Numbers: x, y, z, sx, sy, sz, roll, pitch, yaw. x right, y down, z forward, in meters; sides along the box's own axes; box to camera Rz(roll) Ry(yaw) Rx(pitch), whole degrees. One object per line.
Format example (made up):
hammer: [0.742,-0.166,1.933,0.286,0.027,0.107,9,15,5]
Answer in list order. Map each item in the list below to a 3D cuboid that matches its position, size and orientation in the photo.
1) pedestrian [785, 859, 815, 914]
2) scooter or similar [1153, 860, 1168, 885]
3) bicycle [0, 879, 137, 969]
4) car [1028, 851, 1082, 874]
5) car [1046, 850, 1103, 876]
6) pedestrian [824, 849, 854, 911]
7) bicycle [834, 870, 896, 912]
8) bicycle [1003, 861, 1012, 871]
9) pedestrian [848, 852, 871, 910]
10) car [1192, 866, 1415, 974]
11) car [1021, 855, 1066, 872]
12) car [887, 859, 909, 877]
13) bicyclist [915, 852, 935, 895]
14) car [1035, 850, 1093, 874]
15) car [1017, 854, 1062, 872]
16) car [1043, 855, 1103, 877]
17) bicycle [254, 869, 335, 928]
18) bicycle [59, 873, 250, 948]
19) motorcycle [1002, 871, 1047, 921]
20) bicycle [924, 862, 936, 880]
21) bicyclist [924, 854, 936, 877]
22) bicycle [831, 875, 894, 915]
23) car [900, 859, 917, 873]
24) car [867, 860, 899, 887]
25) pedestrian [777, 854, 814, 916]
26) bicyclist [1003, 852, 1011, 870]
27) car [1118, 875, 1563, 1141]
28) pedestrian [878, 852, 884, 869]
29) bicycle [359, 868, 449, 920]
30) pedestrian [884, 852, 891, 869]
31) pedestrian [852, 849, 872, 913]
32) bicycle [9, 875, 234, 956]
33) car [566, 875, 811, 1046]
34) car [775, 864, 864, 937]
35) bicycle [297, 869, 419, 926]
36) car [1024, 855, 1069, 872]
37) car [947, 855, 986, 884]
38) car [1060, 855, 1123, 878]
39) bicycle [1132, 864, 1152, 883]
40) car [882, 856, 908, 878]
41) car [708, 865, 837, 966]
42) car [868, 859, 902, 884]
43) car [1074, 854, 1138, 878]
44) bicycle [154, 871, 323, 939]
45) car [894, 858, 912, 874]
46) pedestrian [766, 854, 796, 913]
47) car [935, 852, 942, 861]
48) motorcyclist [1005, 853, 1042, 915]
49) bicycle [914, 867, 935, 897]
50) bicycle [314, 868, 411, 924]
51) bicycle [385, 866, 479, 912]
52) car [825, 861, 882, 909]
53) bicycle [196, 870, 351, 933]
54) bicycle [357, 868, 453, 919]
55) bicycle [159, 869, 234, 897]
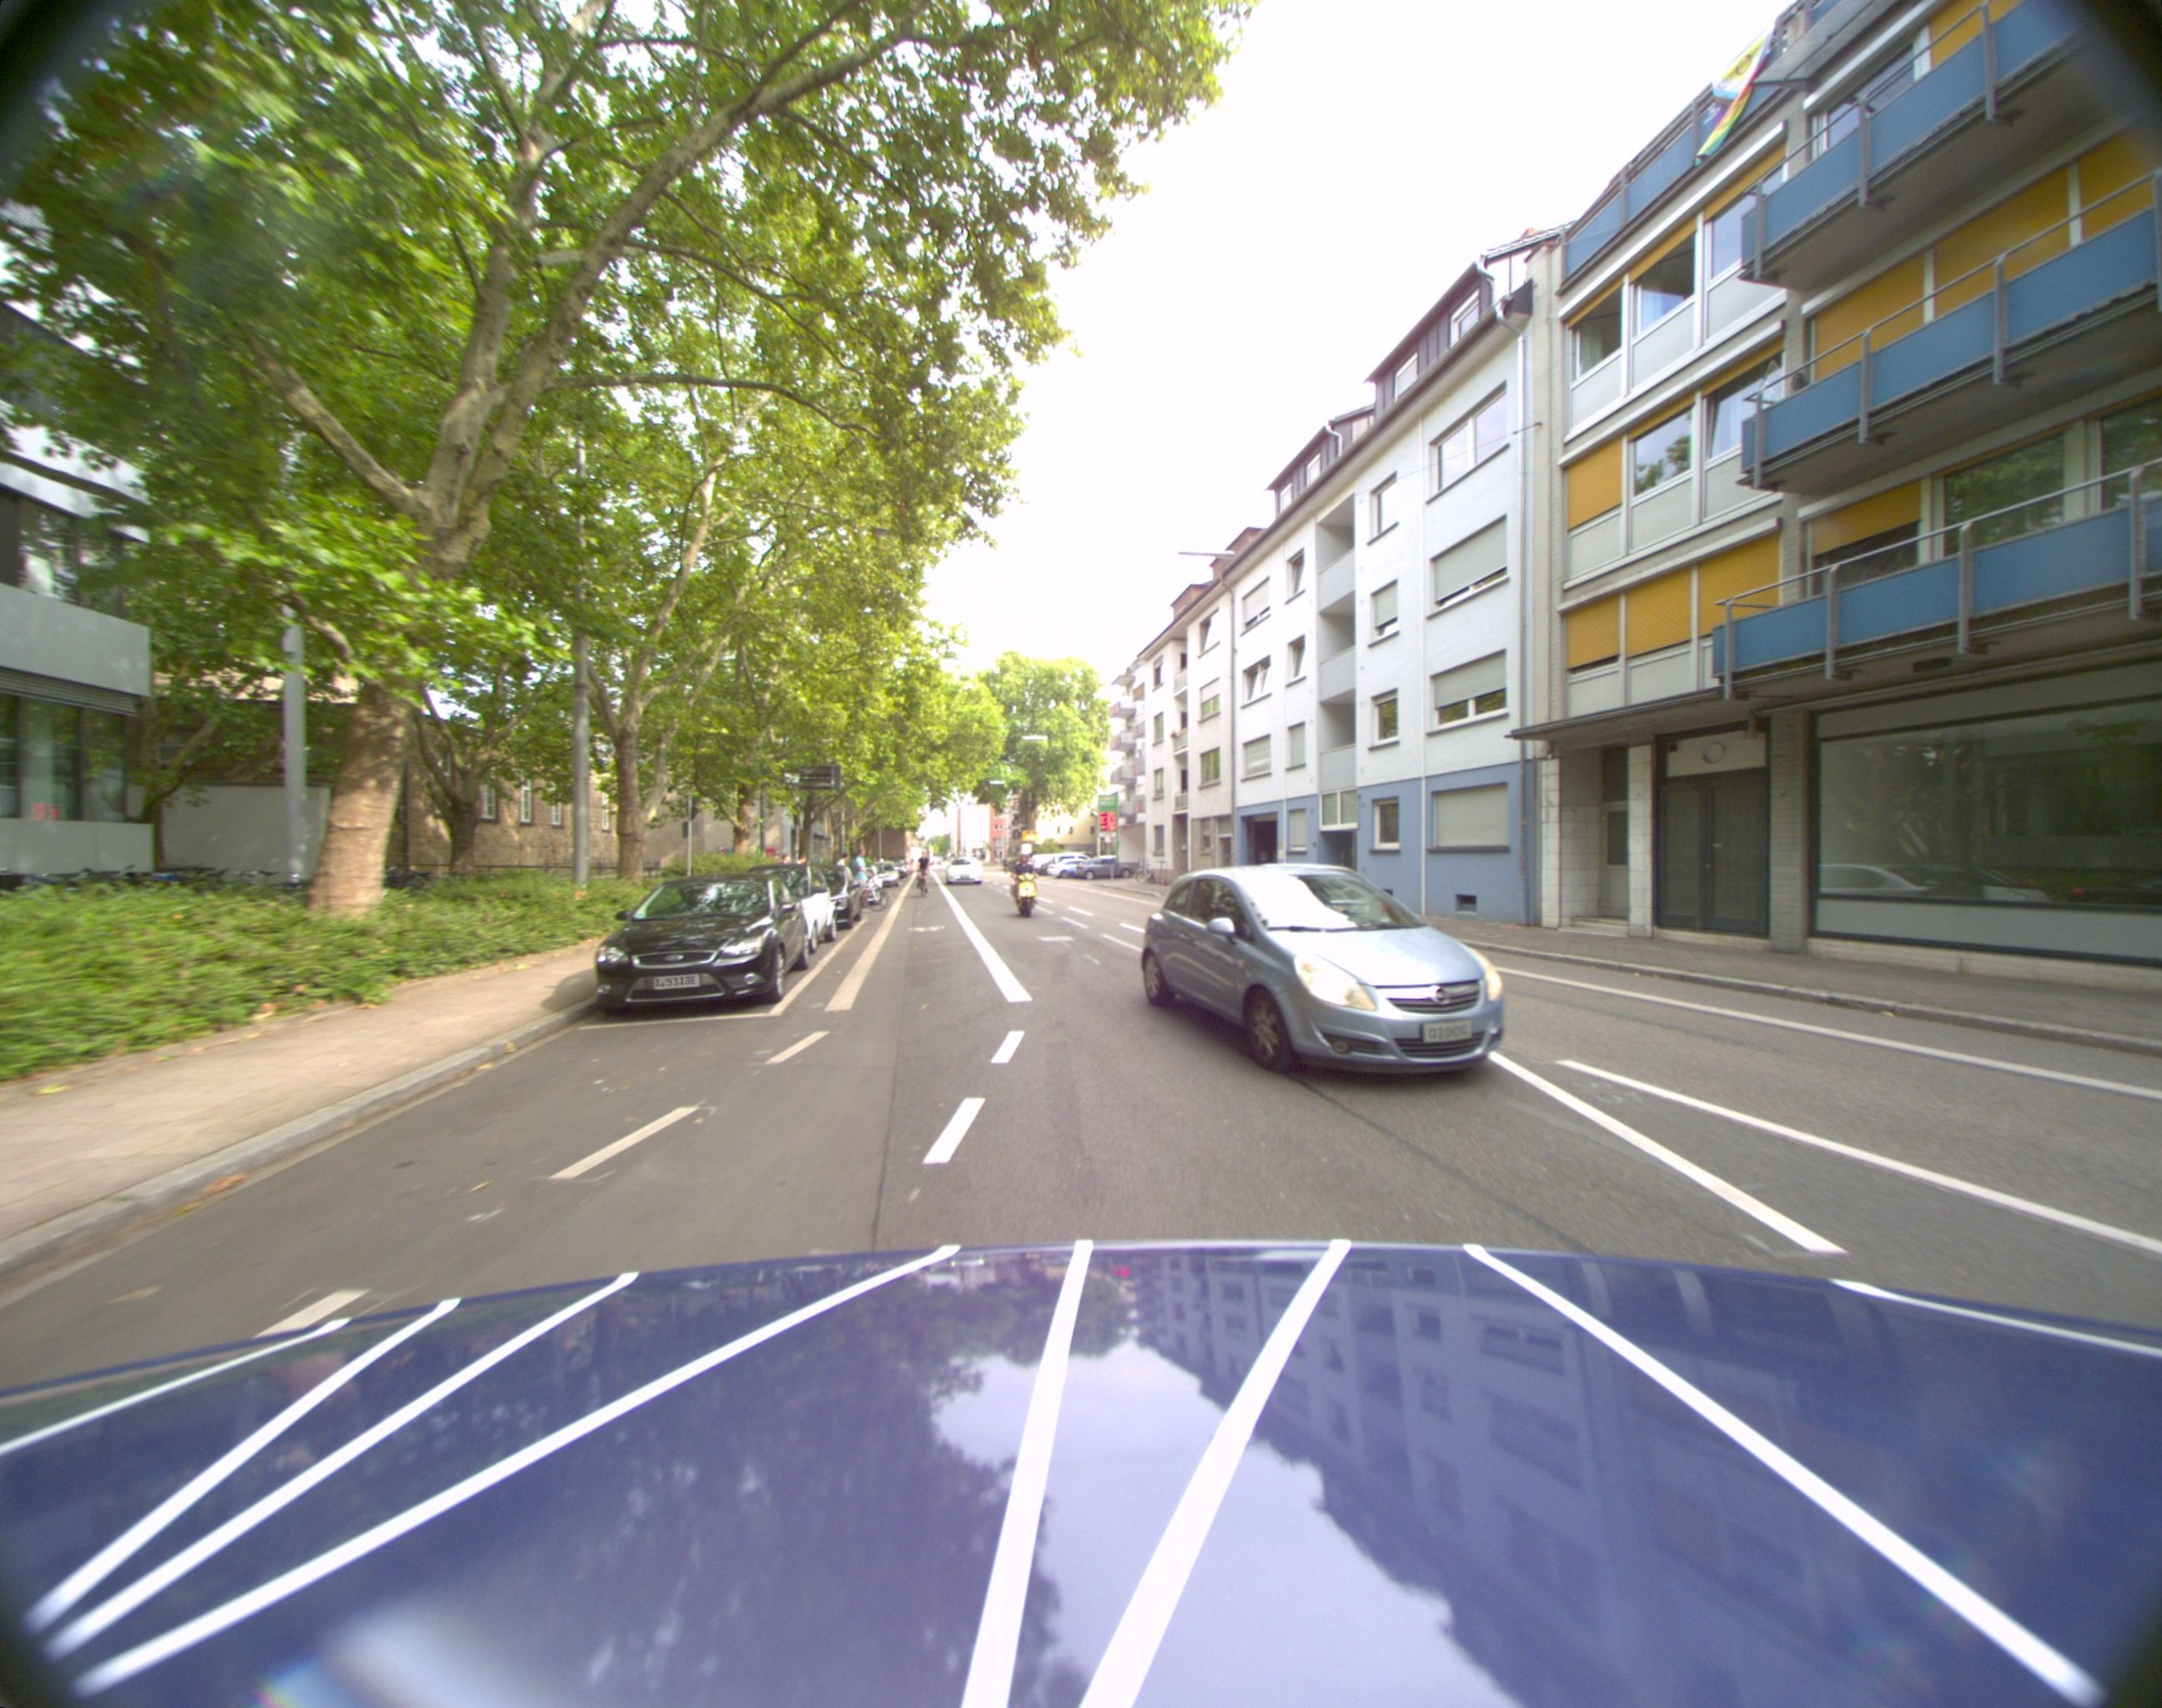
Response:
pedestrian: [-8.665,0.992,23.458,0.723,1.648,0.654,-2,1,-12]
scooter or similar: [3.934,0.911,37.734,0.351,1.214,1.200,-1,0,-12]
bicycle: [-13.694,0.884,9.793,1.922,1.111,0.672,1,0,-12]
car: [-2.411,0.748,69.980,4.632,1.848,1.948,-3,1,-11]
car: [-0.542,0.709,60.942,4.225,1.837,1.922,-3,1,-11]
pedestrian: [-7.925,0.829,24.917,0.796,1.986,0.749,-2,1,-12]
bicycle: [-6.884,1.165,24.261,1.797,1.210,0.552,-2,1,-29]
bicycle: [-7.390,1.194,76.219,0.648,1.008,2.074,-1,1,-12]
pedestrian: [-7.142,0.854,24.462,0.522,1.834,0.743,-2,1,-27]
car: [3.442,0.956,12.639,1.764,1.419,4.094,1,0,-13]
car: [-3.933,0.958,78.908,4.377,1.540,1.731,-3,1,-11]
car: [-16.100,1.179,66.994,1.645,1.424,4.568,-2,0,-11]
bicyclist: [-6.385,0.795,31.096,0.765,1.699,0.916,-1,1,-11]
car: [-1.526,0.685,67.647,4.783,1.923,1.992,-3,1,-11]
car: [-4.481,0.951,81.156,4.534,1.596,1.752,-3,1,-11]
car: [-0.621,0.933,58.193,4.286,1.443,1.872,-3,0,-11]
bicycle: [-15.811,0.873,15.318,0.493,1.111,1.435,1,0,-17]
bicycle: [-14.604,0.878,12.031,1.922,1.111,0.672,1,0,-12]
motorcycle: [-1.554,1.079,20.474,0.905,1.190,2.628,0,0,-11]
bicycle: [-10.395,1.189,52.286,0.764,1.161,1.948,-1,-2,-11]
bicyclist: [-10.395,0.773,52.290,0.749,1.590,0.818,-1,1,-11]
bicycle: [-6.617,1.227,23.039,1.742,1.099,0.551,-2,1,-23]
car: [-18.578,1.279,81.898,1.604,1.438,4.100,-2,0,-11]
car: [-11.409,1.089,43.617,1.649,1.439,3.877,-2,0,-16]
pedestrian: [-8.529,0.911,22.692,0.874,1.806,0.779,-2,1,-12]
bicyclist: [-7.399,0.674,76.181,0.654,1.800,1.044,-1,1,-12]
car: [1.735,0.958,6.676,1.718,1.412,4.248,-1,0,-13]
pedestrian: [-21.253,0.696,80.908,0.503,1.775,0.527,3,0,-13]
bicycle: [-14.791,0.868,16.622,1.384,1.111,0.468,1,0,-19]
pedestrian: [-20.635,0.701,81.120,0.592,1.775,0.475,3,0,-13]
pedestrian: [-6.722,0.814,23.320,0.477,1.923,0.743,-2,1,-23]
bicycle: [-13.942,0.875,11.106,2.086,1.111,0.672,1,0,-12]
car: [-4.489,1.063,9.429,1.704,1.417,4.416,-2,0,-14]
car: [-6.207,1.026,18.386,1.533,1.493,3.656,-2,0,-12]
bicycle: [-14.641,0.860,15.441,1.702,1.111,0.621,1,0,-31]
car: [-3.465,0.964,76.834,4.280,1.502,1.717,-3,1,-11]
car: [-6.786,0.864,44.727,2.002,1.556,4.546,-1,0,-12]
car: [0.780,0.892,56.131,4.315,1.443,1.908,-3,0,-11]
bicycle: [3.204,1.032,40.343,0.599,0.945,1.661,-1,0,-12]
car: [-15.125,1.039,61.787,1.928,1.612,4.476,-2,0,-13]
car: [-5.389,1.002,13.578,1.540,1.534,2.597,-2,1,-9]
car: [-12.388,1.080,48.237,1.760,1.439,4.214,-2,0,-11]
car: [1.776,0.839,54.031,4.165,1.504,1.835,-3,1,-11]
bicycle: [-14.470,0.864,13.103,1.922,1.111,0.672,1,0,-12]
car: [-17.888,1.193,76.613,1.604,1.496,4.436,-2,0,-11]
pedestrian: [-9.572,0.930,24.264,0.723,1.844,0.703,-2,1,-12]
car: [-41.960,0.812,224.111,2.000,2.546,4.794,-1,0,-11]
motorcyclist: [-1.551,0.792,20.476,0.905,1.608,0.690,0,1,-11]
bicycle: [-6.409,1.133,31.189,0.764,1.162,1.947,-1,0,-11]
bicycle: [-15.044,0.866,15.947,1.385,1.111,0.510,1,0,-27]
bicycle: [-16.147,0.868,18.940,1.681,1.111,0.603,1,0,-18]
car: [-8.186,1.051,27.616,1.686,1.507,4.538,-3,1,-14]
bicycle: [-14.951,0.863,14.112,1.922,1.111,0.672,1,0,-12]
bicycle: [-15.108,0.869,17.009,1.545,1.111,0.468,1,0,-19]
bicycle: [-28.808,0.944,24.761,1.625,0.873,0.508,0,3,-7]
